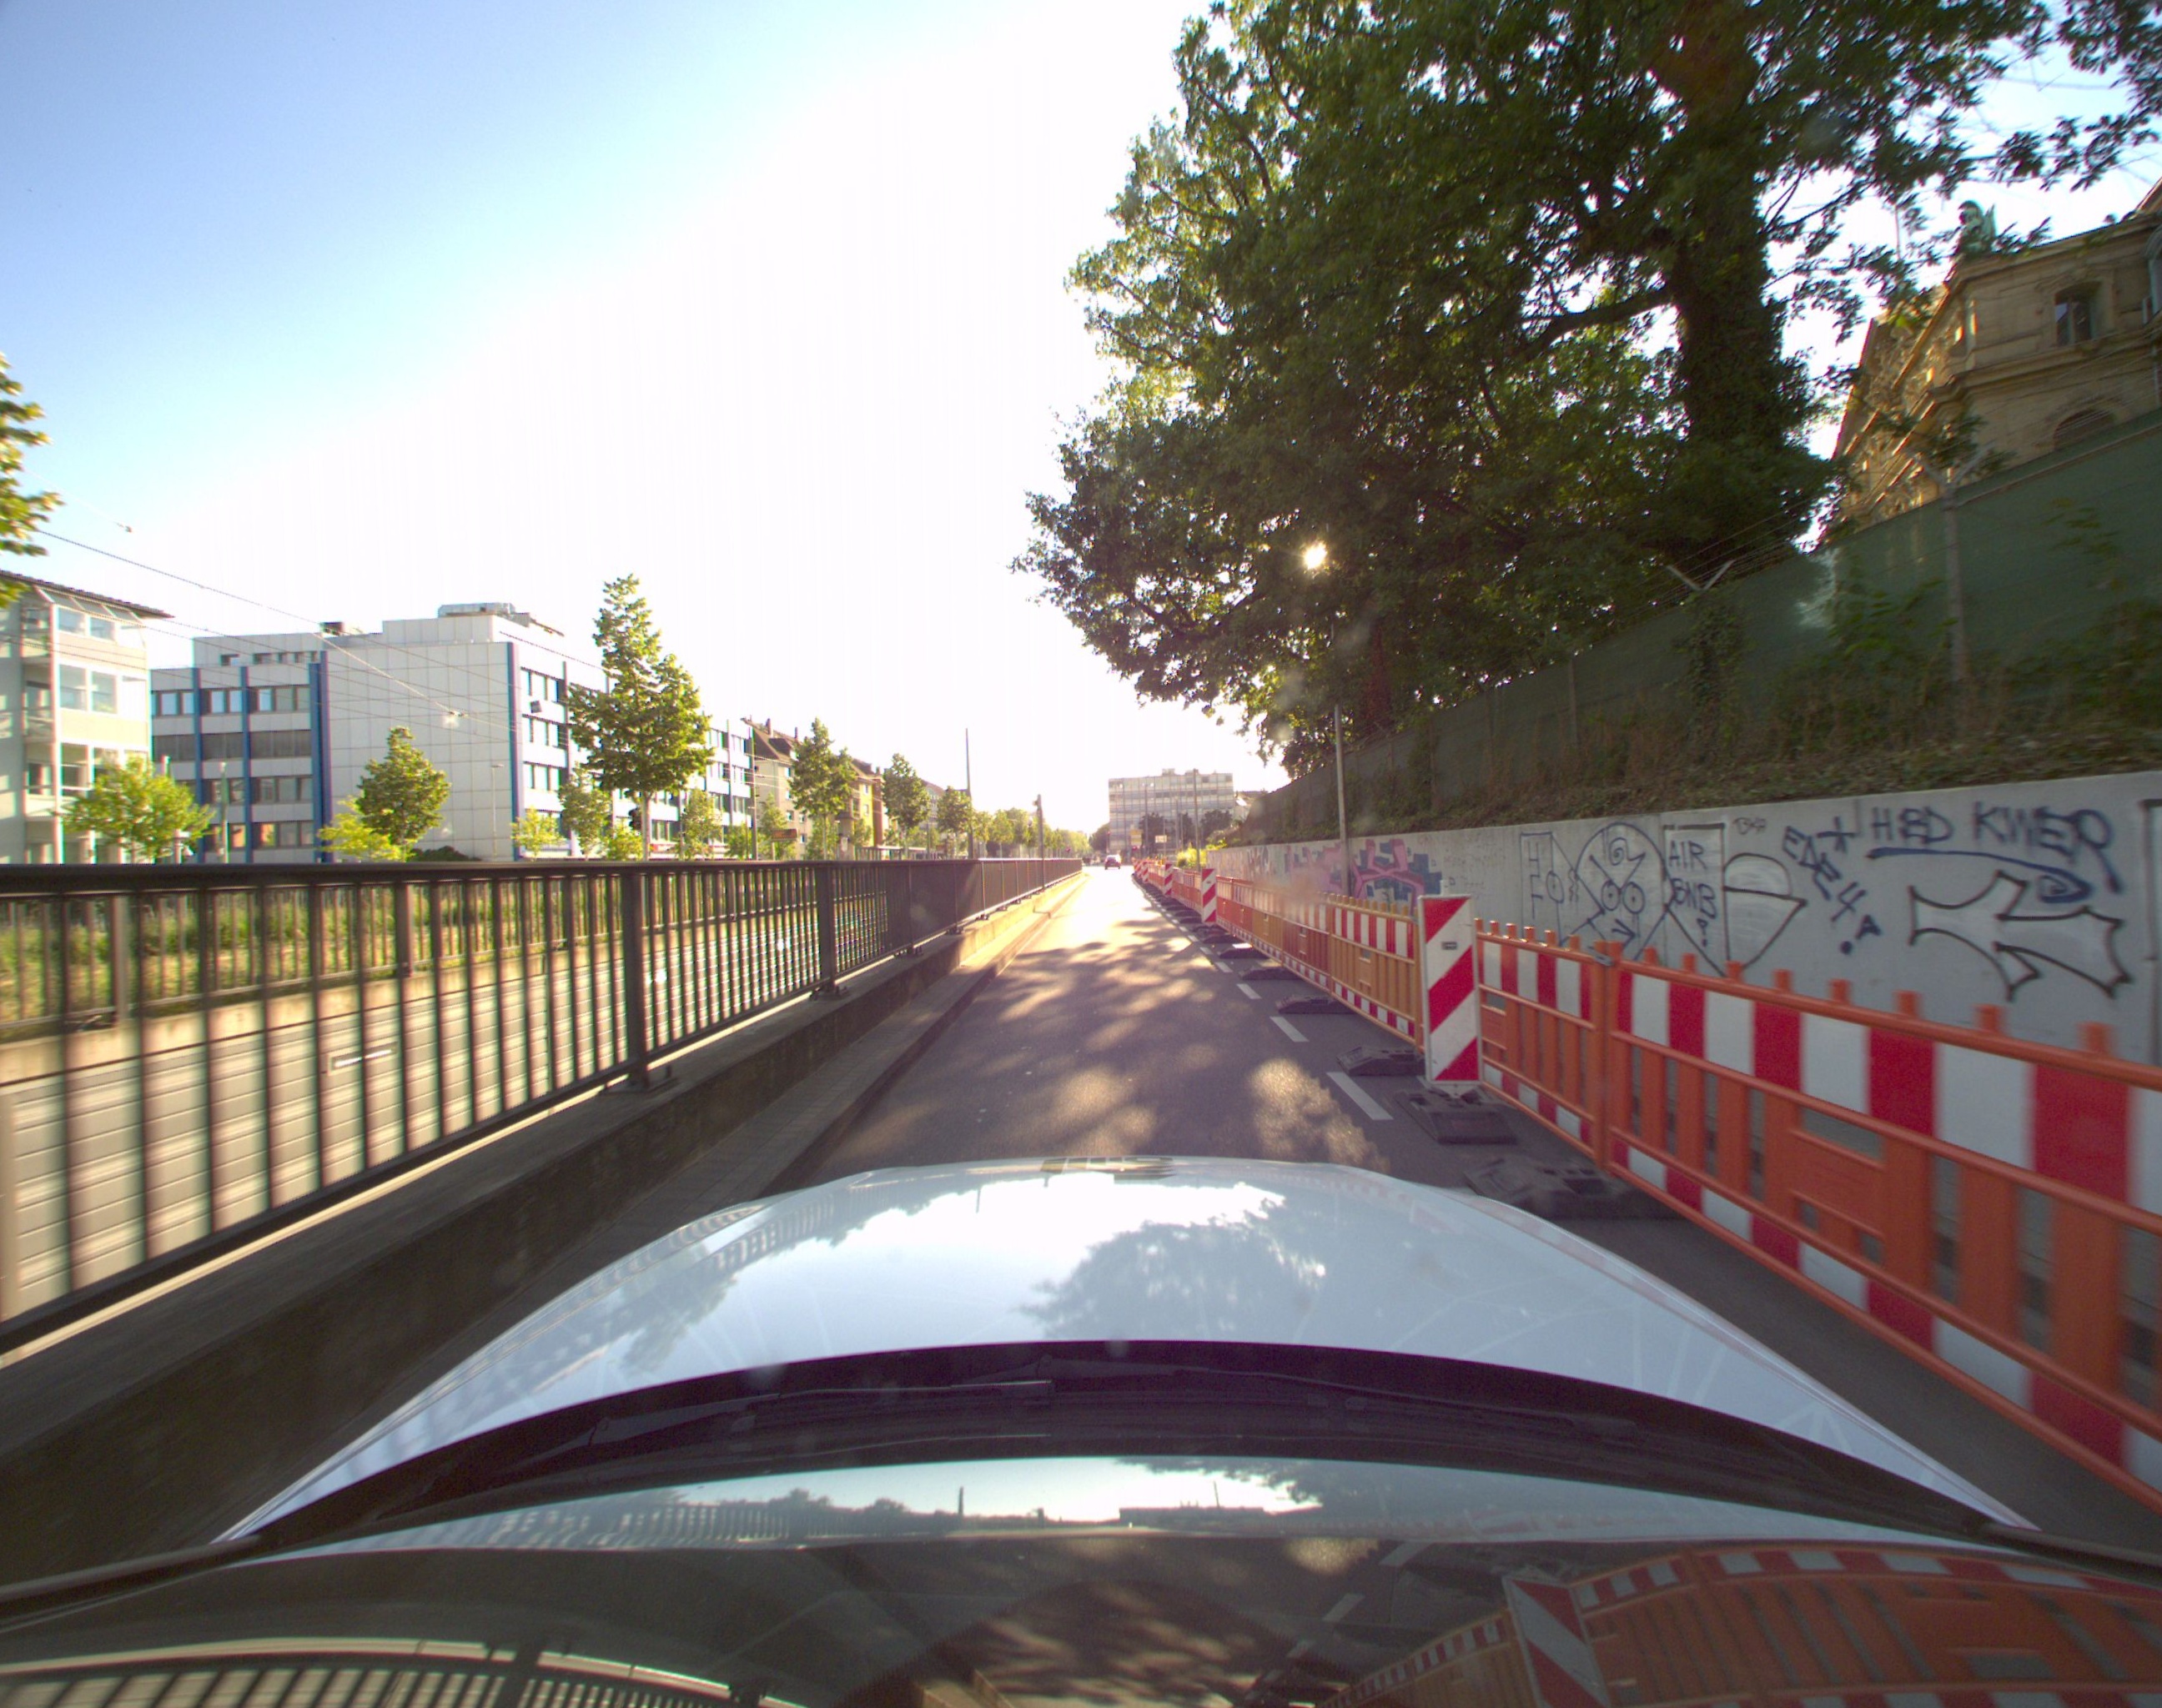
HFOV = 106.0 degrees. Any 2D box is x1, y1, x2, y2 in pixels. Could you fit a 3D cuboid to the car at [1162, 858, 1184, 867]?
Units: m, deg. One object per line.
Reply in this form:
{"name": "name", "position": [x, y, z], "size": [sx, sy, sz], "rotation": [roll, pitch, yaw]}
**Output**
{"name": "car", "position": [17.121, 1.587, 151.750], "size": [3.961, 1.640, 2.006], "rotation": [-1, -1, 11]}

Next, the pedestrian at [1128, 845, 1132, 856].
{"name": "pedestrian", "position": [10.279, -0.753, 170.509], "size": [0.887, 2.112, 0.719], "rotation": [-2, 0, 6]}

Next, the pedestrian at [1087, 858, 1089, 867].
{"name": "pedestrian", "position": [1.249, 1.538, 147.241], "size": [0.277, 1.575, 0.436], "rotation": [0, -1, -24]}

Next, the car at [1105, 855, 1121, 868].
{"name": "car", "position": [4.043, 0.944, 103.029], "size": [1.997, 1.659, 4.002], "rotation": [0, -1, 3]}
